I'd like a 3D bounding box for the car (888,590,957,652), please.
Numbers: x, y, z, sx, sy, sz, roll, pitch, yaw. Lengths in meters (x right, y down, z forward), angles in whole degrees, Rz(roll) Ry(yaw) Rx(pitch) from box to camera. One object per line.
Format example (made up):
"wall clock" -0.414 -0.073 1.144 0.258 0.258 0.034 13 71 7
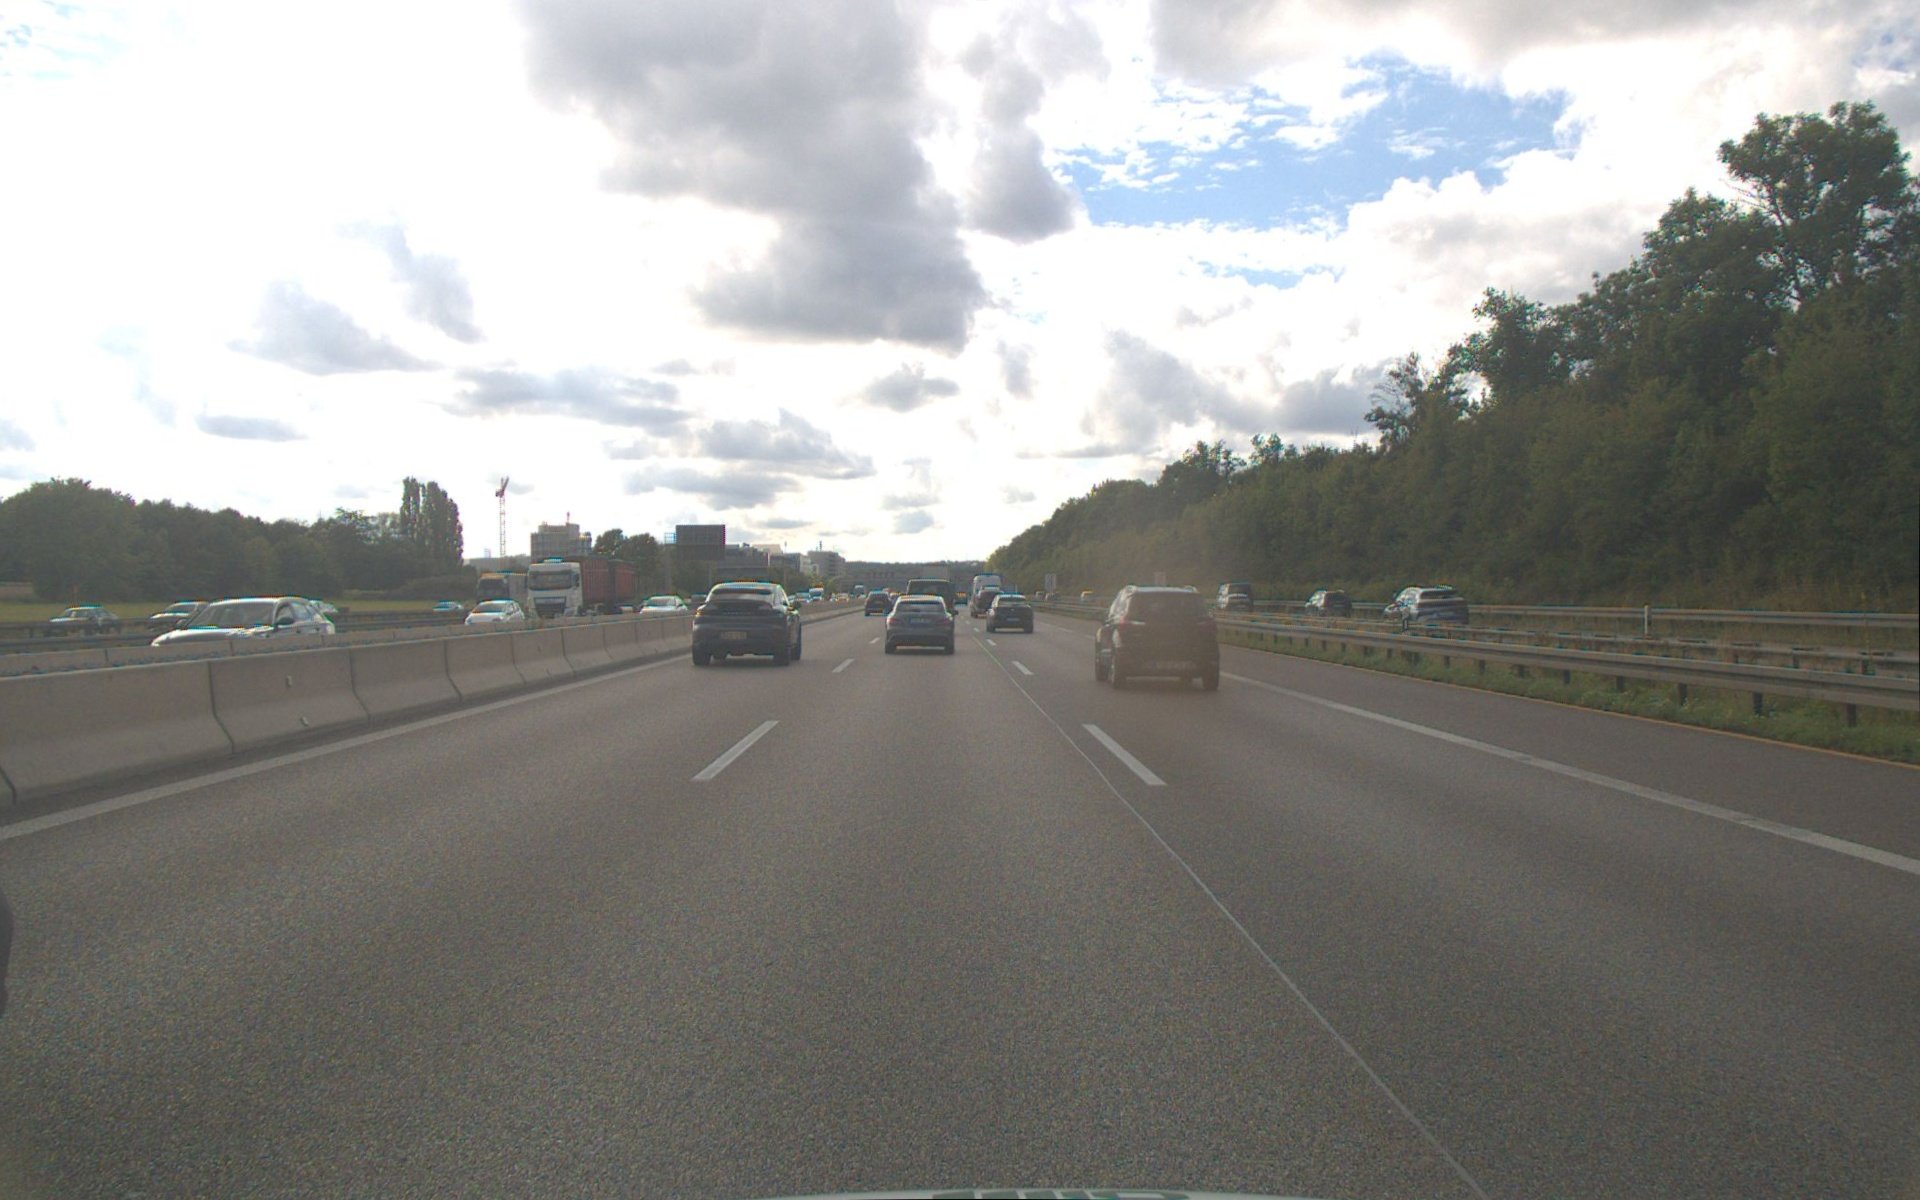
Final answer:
"car" -0.949 0.488 42.574 1.686 1.505 4.390 0 0 -1

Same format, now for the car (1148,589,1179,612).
"car" 15.116 0.031 123.242 1.716 1.725 4.189 0 0 -1

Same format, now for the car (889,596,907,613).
"car" -5.839 0.408 155.856 1.663 1.639 4.112 0 0 -2

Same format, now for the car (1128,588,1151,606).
"car" 17.302 -0.309 159.715 1.716 1.725 4.189 0 0 -1

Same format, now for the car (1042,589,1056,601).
"car" 12.482 -0.688 232.210 1.694 1.560 4.451 -1 0 -1

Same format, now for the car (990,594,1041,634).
"car" 2.153 0.527 65.375 1.795 1.547 4.224 0 0 -1

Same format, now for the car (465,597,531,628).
"car" -18.889 0.492 67.810 1.622 1.213 4.129 -1 0 -1

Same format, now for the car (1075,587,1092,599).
"car" 16.245 -0.867 217.673 1.717 1.543 4.188 0 0 -2

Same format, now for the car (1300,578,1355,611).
"car" 18.854 -0.307 85.022 1.694 1.573 4.304 -2 1 -2

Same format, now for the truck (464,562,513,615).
"truck" -42.809 -1.057 150.256 2.983 4.740 5.071 0 0 0

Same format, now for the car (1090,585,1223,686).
"car" 3.251 0.546 28.044 1.663 1.592 4.112 0 0 -2

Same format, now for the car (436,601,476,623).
"car" -37.774 0.890 124.155 1.694 1.560 4.451 0 0 -1

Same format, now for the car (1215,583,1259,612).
"car" 15.249 -0.140 91.077 1.563 1.573 4.188 0 0 -2

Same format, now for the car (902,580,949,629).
"car" -1.262 0.142 60.569 1.686 1.754 4.390 0 0 -1

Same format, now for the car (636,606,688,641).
"car" -13.941 1.064 77.617 1.654 1.531 4.642 -1 0 -1

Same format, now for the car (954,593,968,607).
"car" 0.099 -0.033 212.981 1.716 1.725 4.189 0 0 -1

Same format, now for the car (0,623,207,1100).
"car" -3.622 0.764 3.550 1.835 1.325 4.941 0 0 -1

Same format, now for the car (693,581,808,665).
"car" -4.407 0.439 35.509 1.873 1.664 5.499 0 0 -1

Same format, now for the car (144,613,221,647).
"car" -37.579 1.432 80.060 1.694 1.560 4.451 0 0 -1

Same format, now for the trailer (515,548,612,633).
"trailer" -21.538 -0.527 90.551 2.985 4.364 10.652 -1 0 -2

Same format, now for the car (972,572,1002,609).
"car" 1.750 -0.647 109.927 1.835 2.398 4.281 0 0 -1

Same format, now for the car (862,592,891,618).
"car" -5.580 0.313 110.652 1.835 1.727 4.071 0 0 -1

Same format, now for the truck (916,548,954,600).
"truck" -2.234 -2.243 146.796 3.197 4.451 11.024 1 0 -1

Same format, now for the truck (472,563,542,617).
"truck" -42.846 -0.954 157.066 3.011 4.886 14.124 0 0 -1

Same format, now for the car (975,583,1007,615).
"car" 1.904 -0.075 102.882 1.874 1.952 4.029 0 0 -1

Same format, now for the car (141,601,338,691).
"car" -12.587 0.759 29.177 1.721 1.427 4.074 -1 0 -1

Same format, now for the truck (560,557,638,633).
"truck" -21.777 -0.304 100.211 2.985 4.364 8.586 -1 0 -2

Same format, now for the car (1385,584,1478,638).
"car" 15.906 0.333 55.961 1.809 1.679 4.305 -2 1 -1

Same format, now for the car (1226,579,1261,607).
"car" 18.912 -0.472 110.388 1.563 1.835 3.823 0 0 -3
